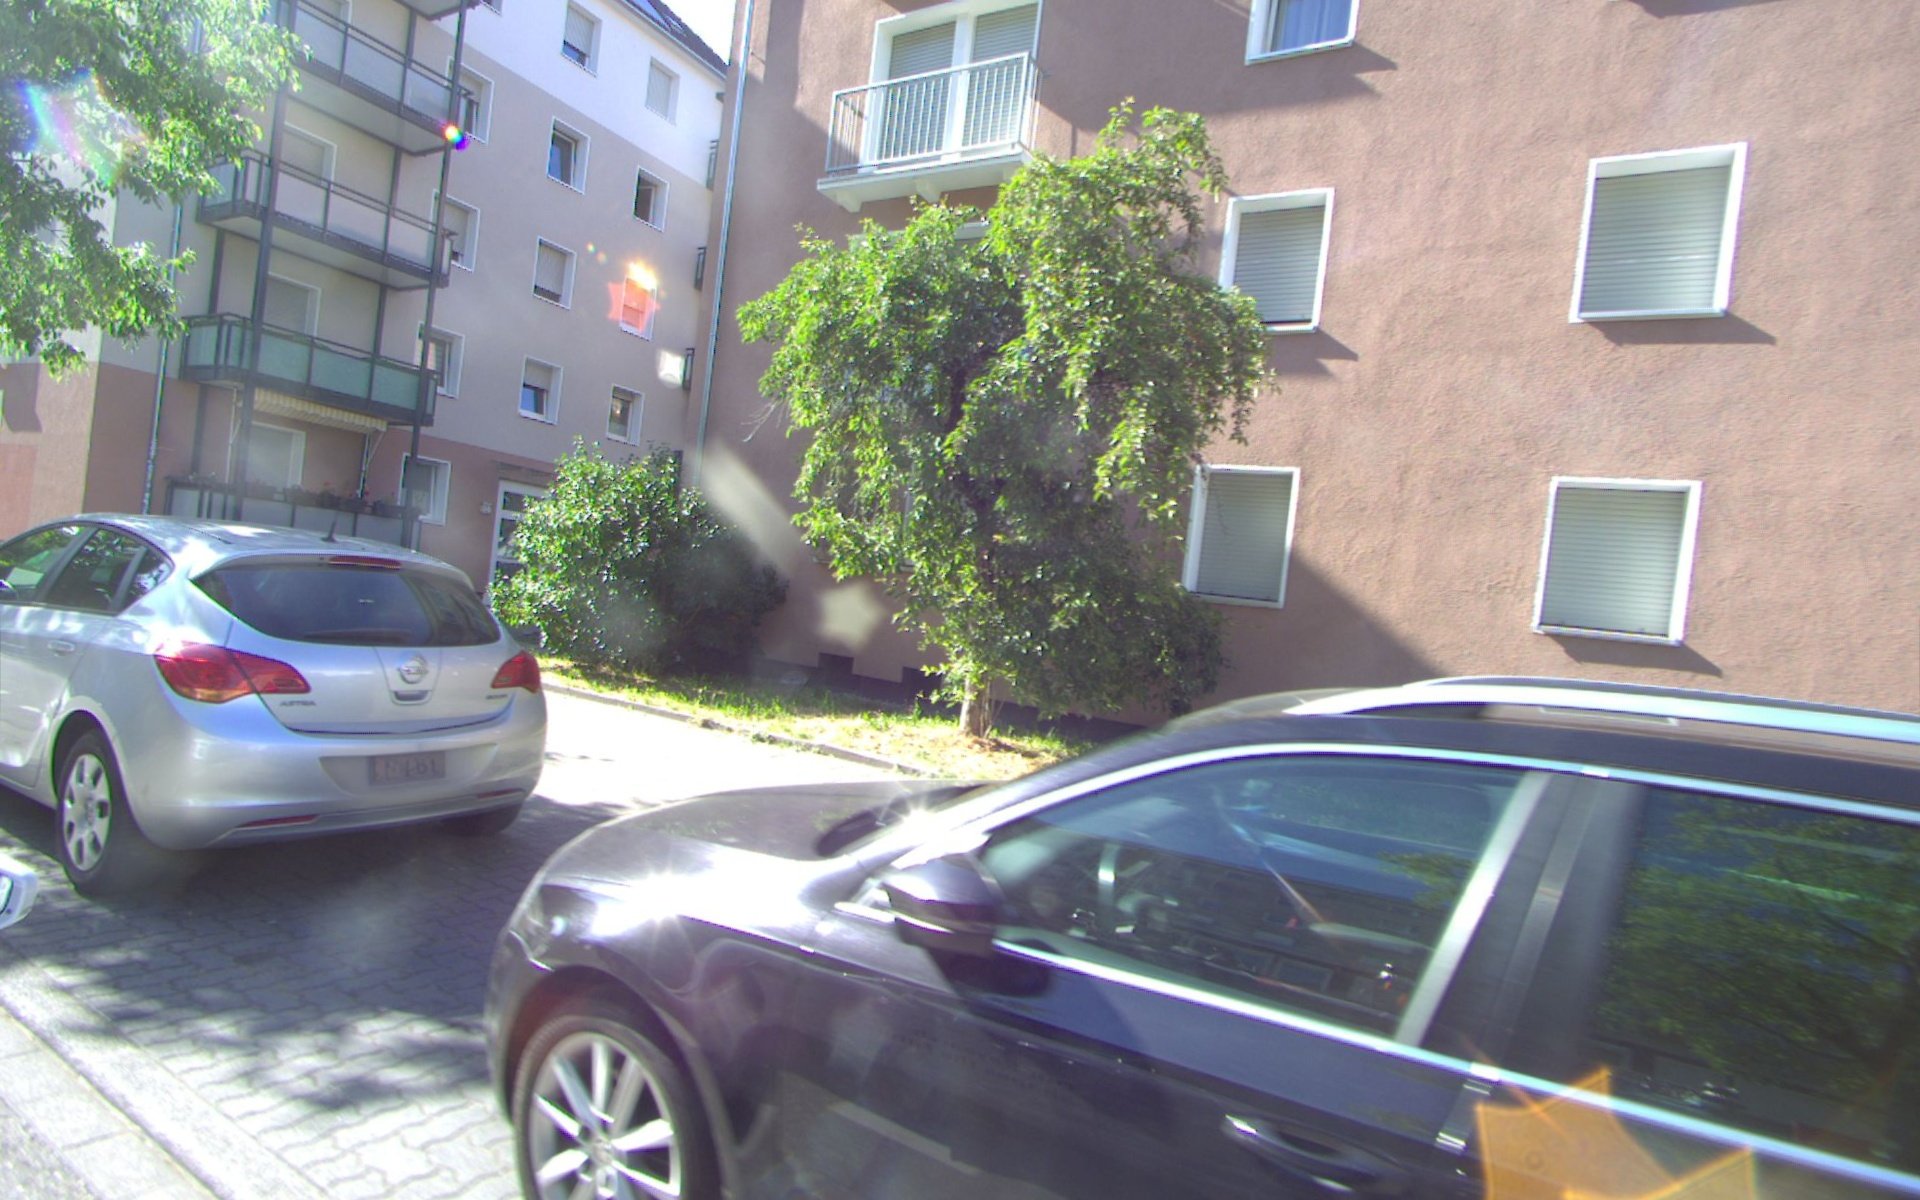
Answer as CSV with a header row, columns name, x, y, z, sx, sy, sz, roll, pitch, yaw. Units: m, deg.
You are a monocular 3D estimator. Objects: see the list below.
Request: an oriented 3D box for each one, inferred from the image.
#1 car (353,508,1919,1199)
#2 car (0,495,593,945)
name,x,y,z,sx,sy,sz,roll,pitch,yaw
car,0.851,0.807,1.988,4.240,1.500,1.660,7,0,32
car,-3.948,0.317,5.175,3.934,1.472,1.718,6,0,32
